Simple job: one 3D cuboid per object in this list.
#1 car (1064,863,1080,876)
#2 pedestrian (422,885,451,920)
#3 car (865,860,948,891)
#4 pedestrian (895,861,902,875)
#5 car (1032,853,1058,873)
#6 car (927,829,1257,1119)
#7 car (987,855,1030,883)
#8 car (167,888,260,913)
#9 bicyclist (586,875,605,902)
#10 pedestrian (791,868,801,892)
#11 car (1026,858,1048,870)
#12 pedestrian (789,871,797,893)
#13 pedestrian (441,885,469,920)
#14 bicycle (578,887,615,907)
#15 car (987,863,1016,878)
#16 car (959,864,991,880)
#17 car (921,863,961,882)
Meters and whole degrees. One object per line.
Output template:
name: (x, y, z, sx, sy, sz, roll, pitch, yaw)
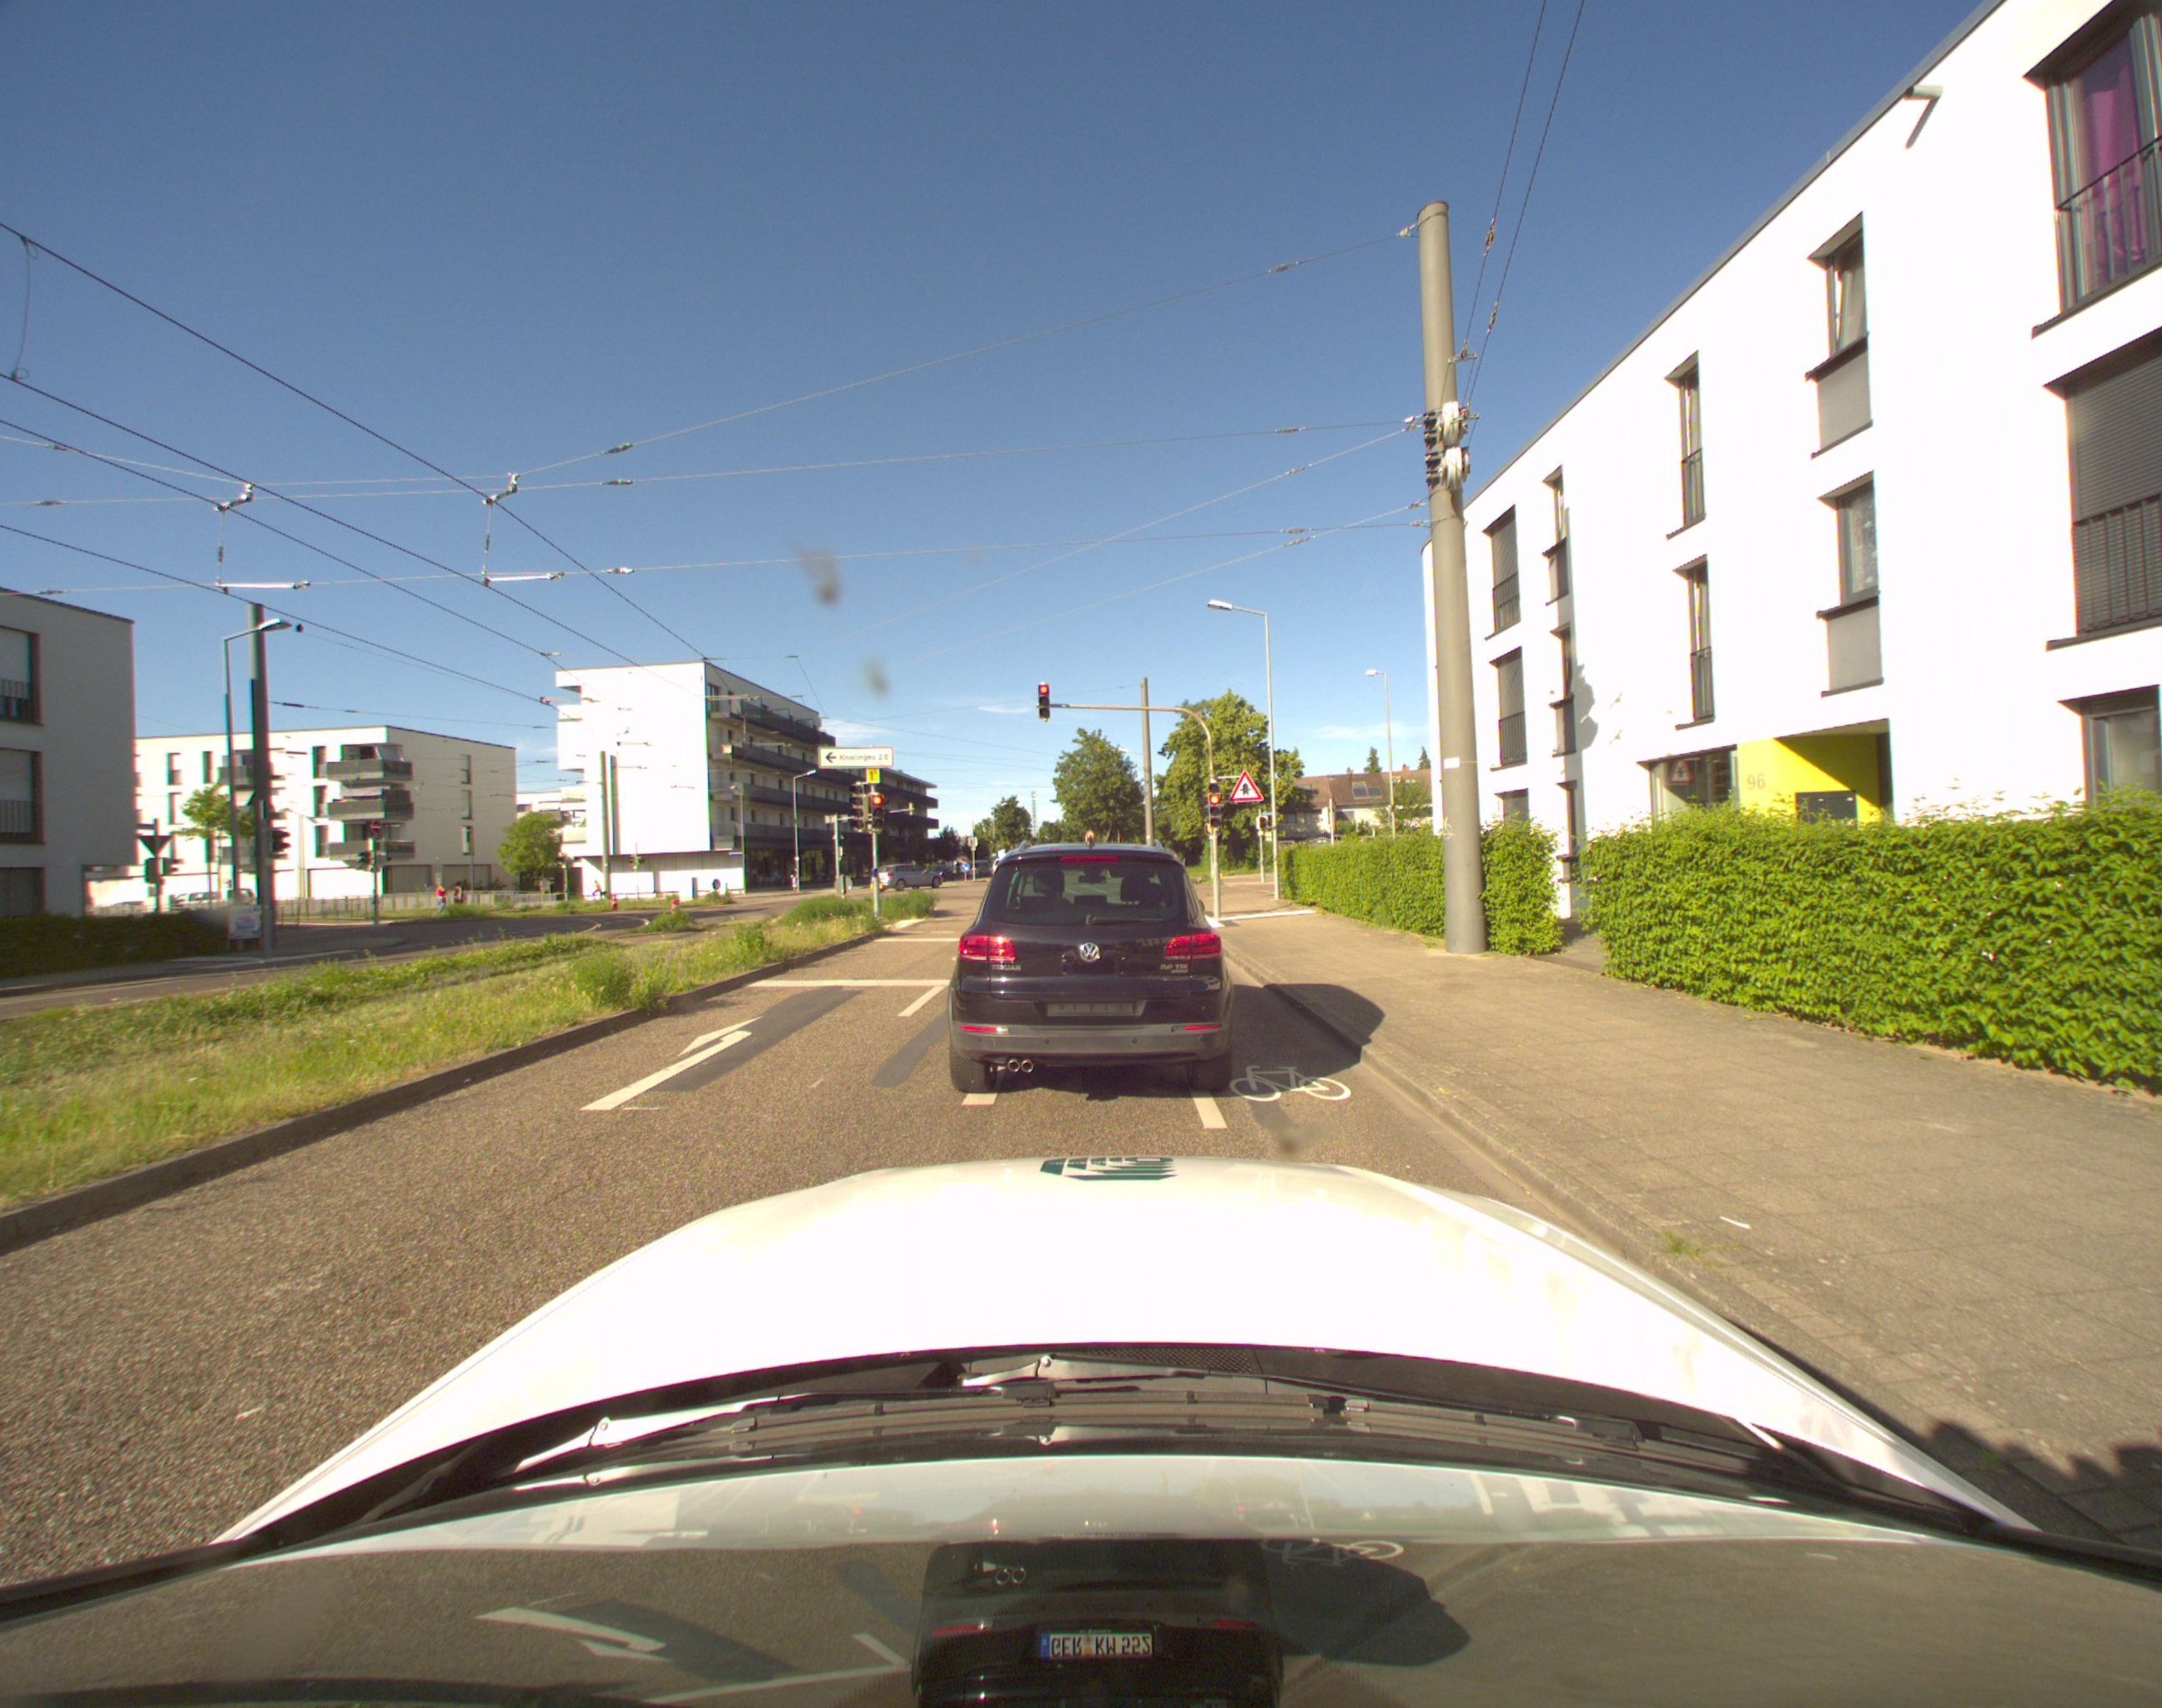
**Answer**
car: (-1.190, 2.037, 108.935, 1.987, 1.684, 4.000, 0, -1, 0)
pedestrian: (-30.183, 2.254, 38.143, 0.769, 1.605, 0.742, 0, -1, -4)
car: (-9.337, 1.131, 43.842, 1.845, 1.485, 4.136, -3, -1, 38)
pedestrian: (-19.964, 1.542, 89.102, 0.640, 1.509, 0.596, 0, -1, 2)
car: (-3.298, 0.809, 75.272, 1.985, 1.836, 4.003, 0, -1, 3)
car: (0.124, 0.698, 6.624, 1.862, 1.637, 4.001, 0, -1, 2)
car: (-4.811, 0.975, 54.618, 1.852, 1.720, 3.698, -2, 0, 11)
car: (-58.777, 3.164, 55.201, 4.305, 1.574, 2.002, 0, -1, 4)
bicyclist: (-30.070, 2.122, 50.404, 0.776, 1.614, 0.644, -1, -1, 20)
pedestrian: (-20.722, 1.885, 59.264, 0.542, 1.744, 0.517, 0, -1, -4)
car: (-5.676, 1.298, 106.292, 1.981, 1.574, 4.350, -1, -1, 9)
pedestrian: (-20.728, 2.015, 58.638, 0.440, 1.503, 0.517, 0, -1, -4)
pedestrian: (-29.183, 2.245, 37.970, 0.769, 1.605, 0.742, 0, -1, -4)
bicycle: (-30.028, 2.655, 50.509, 0.813, 1.124, 1.870, -1, -1, 20)
car: (-8.675, 1.822, 89.216, 1.981, 1.574, 4.350, -1, -1, 9)
car: (-10.672, 1.830, 82.432, 1.981, 1.574, 4.350, -1, -1, 9)
car: (-12.351, 1.627, 72.205, 1.980, 1.574, 4.353, -1, -1, 11)
